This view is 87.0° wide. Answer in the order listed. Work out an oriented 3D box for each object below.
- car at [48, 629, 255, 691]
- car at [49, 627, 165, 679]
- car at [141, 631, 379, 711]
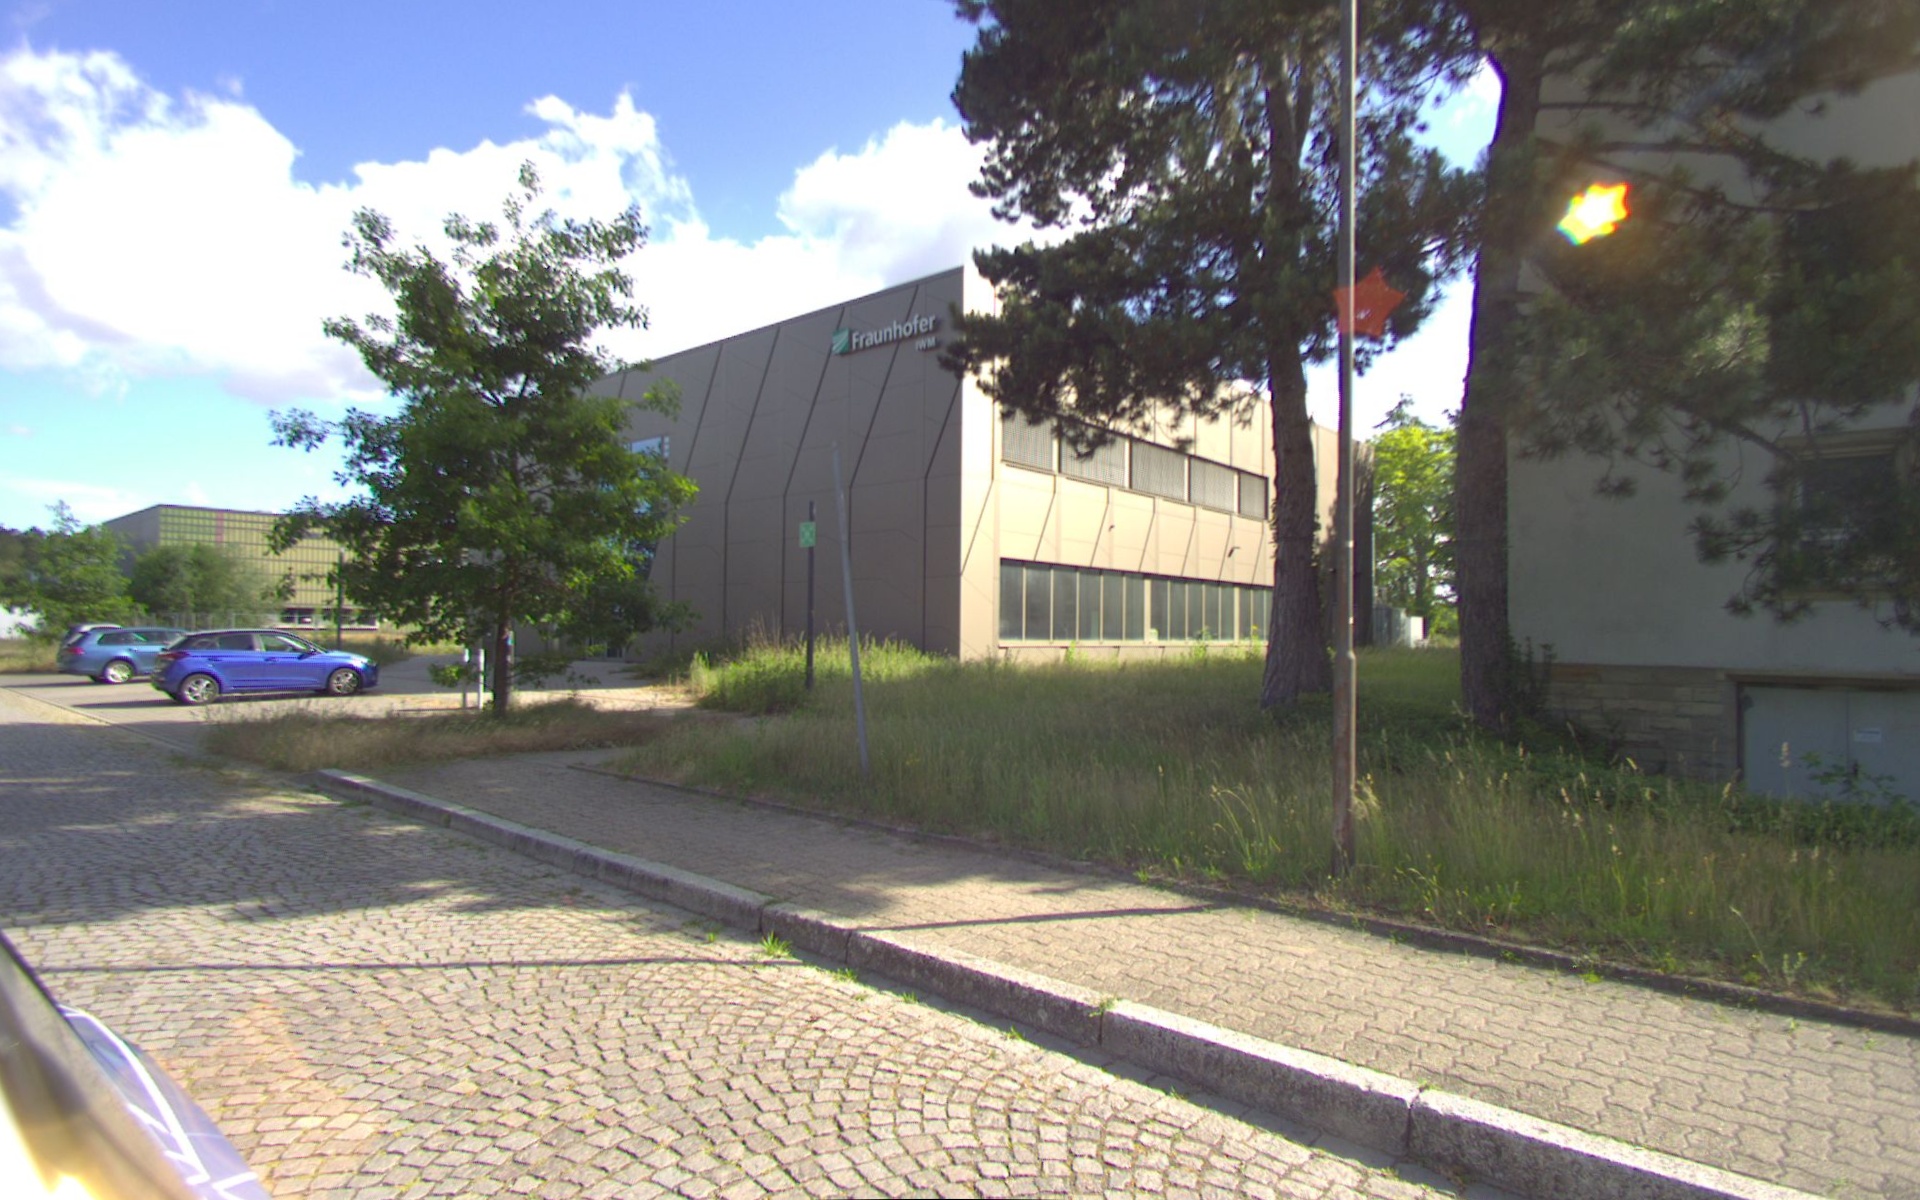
[{"bbox_3d":[-21.937,1.573,27.591,1.732,1.485,4.128,-1,-1,38],"label":"car"},{"bbox_3d":[-27.380,1.664,32.529,1.480,1.580,2.619,-1,-2,39],"label":"car"},{"bbox_3d":[-14.722,1.417,21.429,1.735,1.479,3.866,-2,-2,43],"label":"car"}]
